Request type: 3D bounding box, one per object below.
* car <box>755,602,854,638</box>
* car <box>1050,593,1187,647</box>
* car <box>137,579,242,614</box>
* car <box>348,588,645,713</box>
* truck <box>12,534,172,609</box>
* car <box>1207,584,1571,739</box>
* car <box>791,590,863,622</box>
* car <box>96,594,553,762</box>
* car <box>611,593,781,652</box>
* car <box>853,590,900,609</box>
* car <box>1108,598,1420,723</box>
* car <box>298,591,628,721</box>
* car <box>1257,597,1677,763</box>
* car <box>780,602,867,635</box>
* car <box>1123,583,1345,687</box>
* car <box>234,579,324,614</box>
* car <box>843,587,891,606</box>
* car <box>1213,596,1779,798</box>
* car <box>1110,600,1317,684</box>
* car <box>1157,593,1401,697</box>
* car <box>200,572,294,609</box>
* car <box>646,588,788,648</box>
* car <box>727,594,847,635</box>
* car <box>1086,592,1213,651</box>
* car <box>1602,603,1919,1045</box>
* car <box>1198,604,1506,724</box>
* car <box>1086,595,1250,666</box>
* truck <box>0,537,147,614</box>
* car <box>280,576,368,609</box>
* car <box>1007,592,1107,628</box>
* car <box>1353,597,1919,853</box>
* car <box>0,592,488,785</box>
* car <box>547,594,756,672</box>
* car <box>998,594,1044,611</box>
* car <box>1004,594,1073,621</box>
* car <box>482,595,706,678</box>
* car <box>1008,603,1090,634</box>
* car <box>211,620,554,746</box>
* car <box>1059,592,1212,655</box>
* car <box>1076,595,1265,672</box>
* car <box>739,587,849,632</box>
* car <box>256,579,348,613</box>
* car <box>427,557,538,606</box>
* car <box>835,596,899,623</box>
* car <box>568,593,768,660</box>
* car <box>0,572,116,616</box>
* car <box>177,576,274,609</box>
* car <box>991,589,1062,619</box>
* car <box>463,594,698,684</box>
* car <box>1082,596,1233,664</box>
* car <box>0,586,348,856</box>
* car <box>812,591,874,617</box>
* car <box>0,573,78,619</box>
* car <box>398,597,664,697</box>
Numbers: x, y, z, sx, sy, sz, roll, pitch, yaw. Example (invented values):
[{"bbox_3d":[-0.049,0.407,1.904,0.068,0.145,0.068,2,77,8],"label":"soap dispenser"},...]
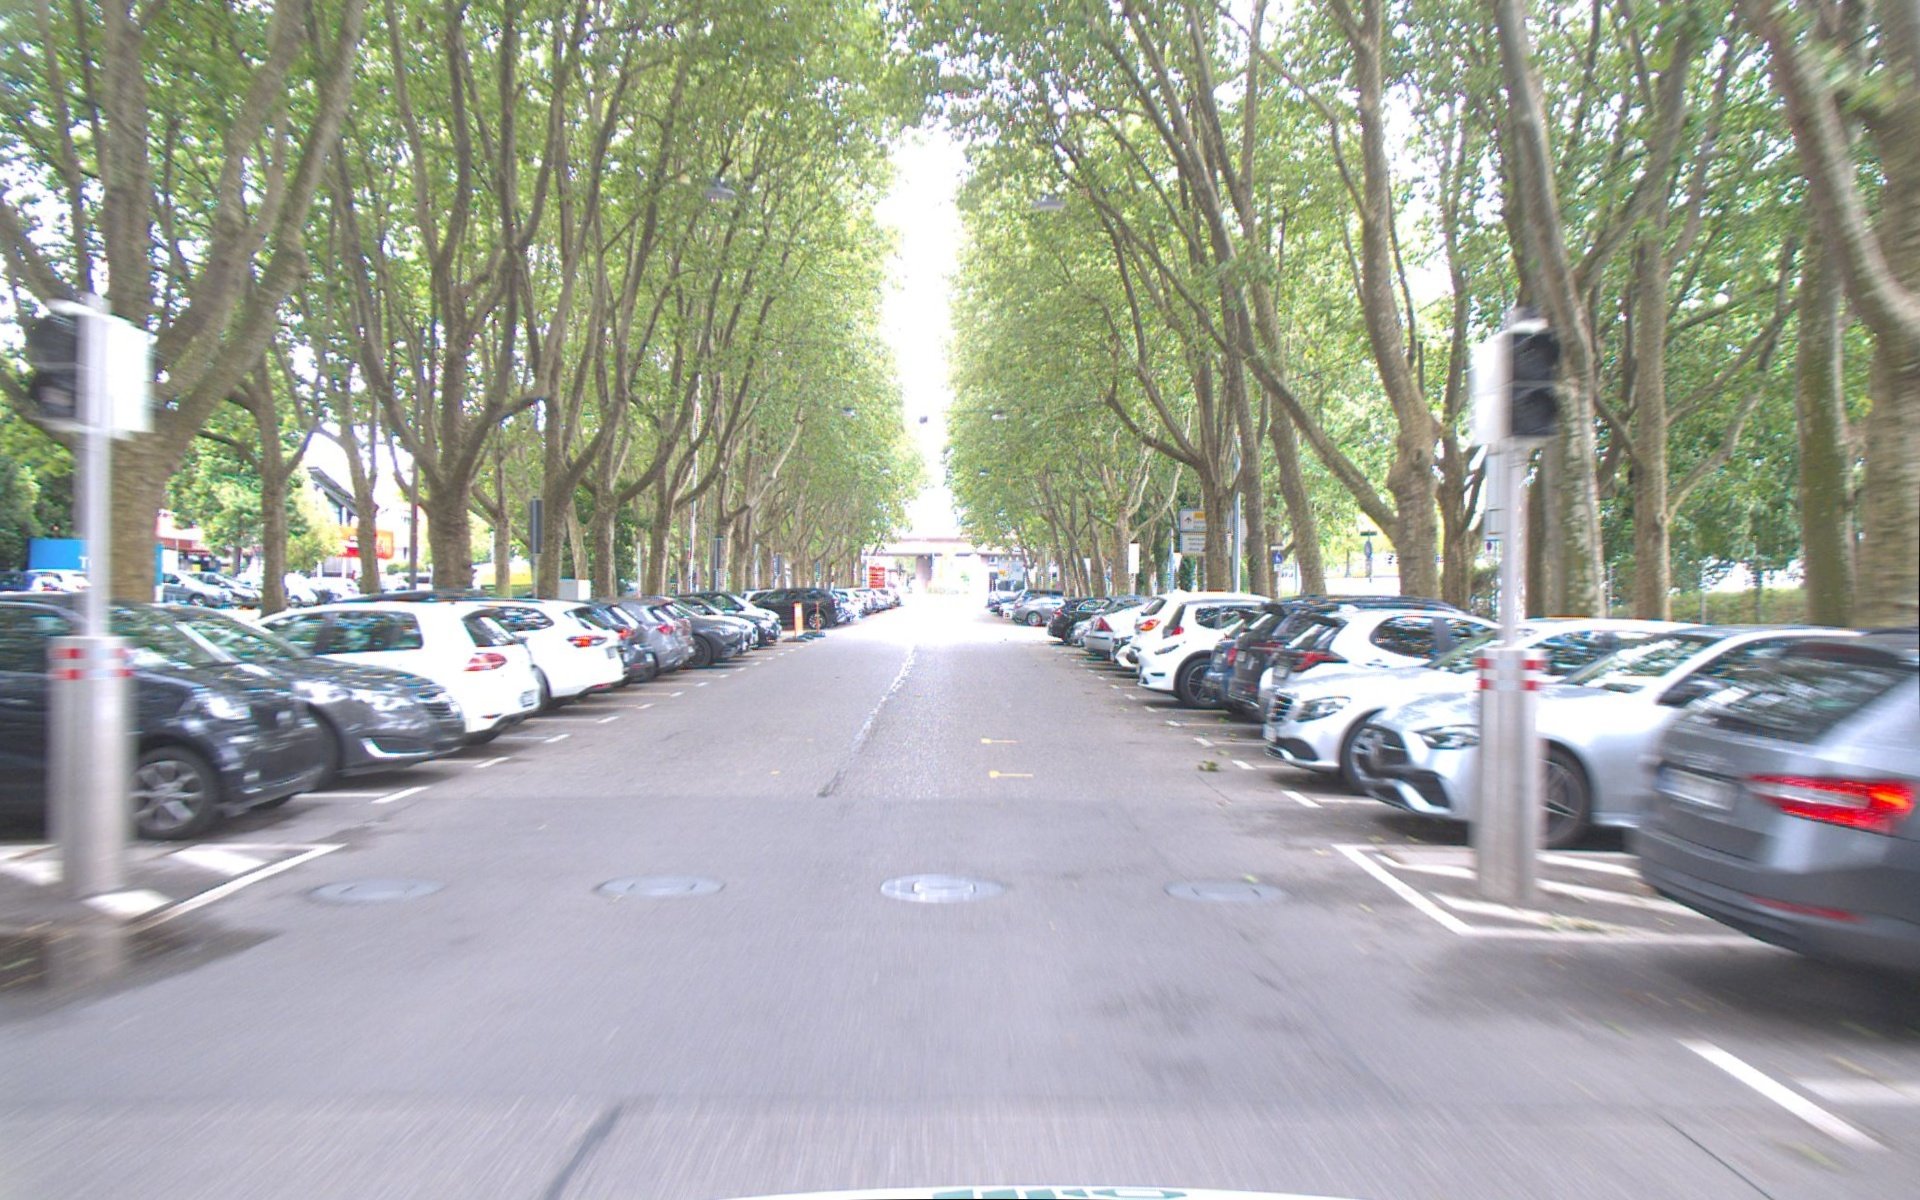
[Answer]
[{"bbox_3d":[-6.653,0.841,71.204,4.083,1.405,1.871,-2,0,-2],"label":"car"},{"bbox_3d":[4.656,0.574,48.930,3.839,1.477,1.555,2,0,-2],"label":"car"},{"bbox_3d":[-32.604,-0.164,70.033,3.679,1.373,1.535,2,0,-2],"label":"car"},{"bbox_3d":[-6.544,0.678,23.695,3.751,1.636,1.857,-1,0,-4],"label":"car"},{"bbox_3d":[-34.572,-1.115,65.996,5.130,2.790,2.206,2,0,-1],"label":"truck"},{"bbox_3d":[4.920,0.683,19.286,3.701,1.625,1.819,2,0,-4],"label":"car"},{"bbox_3d":[-7.480,0.338,93.096,3.733,1.630,1.787,-2,0,5],"label":"car"},{"bbox_3d":[-6.014,0.705,15.997,3.751,1.455,1.693,-1,0,-3],"label":"car"},{"bbox_3d":[-6.900,0.575,43.546,4.246,1.455,1.693,-1,0,-3],"label":"car"},{"bbox_3d":[-6.935,-0.040,137.663,3.734,1.542,1.686,1,0,3],"label":"car"},{"bbox_3d":[4.322,0.846,23.905,4.084,1.624,1.853,2,0,-4],"label":"car"},{"bbox_3d":[-6.330,0.689,21.387,3.751,1.523,1.693,-1,0,-3],"label":"car"},{"bbox_3d":[5.035,0.772,16.705,3.701,1.495,1.622,2,0,-4],"label":"car"},{"bbox_3d":[-6.269,0.850,76.281,3.733,1.377,1.663,-2,0,5],"label":"car"},{"bbox_3d":[4.788,0.592,29.158,3.573,1.696,1.518,2,0,-4],"label":"car"},{"bbox_3d":[-32.907,-0.172,80.017,3.680,1.617,1.535,2,0,-3],"label":"car"},{"bbox_3d":[-7.605,-0.284,135.656,3.734,1.542,1.686,1,0,3],"label":"car"},{"bbox_3d":[4.396,0.776,13.912,4.212,1.495,1.622,2,0,-4],"label":"car"},{"bbox_3d":[4.723,0.772,31.082,3.573,1.434,1.518,2,0,-4],"label":"car"},{"bbox_3d":[5.135,0.714,26.907,3.573,1.545,1.642,2,0,-4],"label":"car"},{"bbox_3d":[-33.361,-0.465,77.476,3.680,1.617,1.535,2,0,-3],"label":"car"},{"bbox_3d":[-6.768,0.489,46.297,3.751,1.582,1.693,-1,0,-3],"label":"car"},{"bbox_3d":[-6.859,0.560,65.998,4.570,1.452,1.999,-2,0,-2],"label":"car"},{"bbox_3d":[5.305,0.600,46.615,3.356,1.534,1.555,2,0,-2],"label":"car"},{"bbox_3d":[5.012,0.828,6.564,4.278,1.495,1.623,2,0,-1],"label":"car"},{"bbox_3d":[5.026,0.809,21.458,3.573,1.395,1.518,2,0,-4],"label":"car"},{"bbox_3d":[4.562,0.662,36.594,3.357,1.448,1.518,2,0,-4],"label":"car"},{"bbox_3d":[-34.230,-0.937,63.246,5.204,2.790,1.928,2,0,-1],"label":"truck"},{"bbox_3d":[-32.890,-0.392,85.595,3.902,1.617,1.695,2,0,8],"label":"car"},{"bbox_3d":[4.468,0.442,75.910,4.478,1.512,2.001,1,0,4],"label":"car"},{"bbox_3d":[5.107,0.796,11.086,4.520,1.495,1.649,2,0,-1],"label":"car"},{"bbox_3d":[-6.231,0.672,13.408,4.313,1.388,1.693,-1,0,-3],"label":"car"},{"bbox_3d":[-6.199,0.639,33.520,3.941,1.455,1.693,-1,0,-3],"label":"car"},{"bbox_3d":[5.798,0.228,157.737,4.286,1.549,1.731,1,0,0],"label":"car"},{"bbox_3d":[4.640,0.435,98.092,3.967,1.494,1.730,1,0,-3],"label":"car"},{"bbox_3d":[-6.832,0.671,31.106,3.746,1.455,1.695,-1,0,4],"label":"car"},{"bbox_3d":[4.499,0.930,83.346,4.087,1.467,1.732,1,0,4],"label":"car"},{"bbox_3d":[-6.298,0.884,18.321,3.250,1.224,1.584,-1,0,-4],"label":"car"},{"bbox_3d":[4.361,0.579,41.414,3.604,1.448,1.518,2,0,-2],"label":"car"},{"bbox_3d":[4.312,0.675,34.281,3.573,1.448,1.984,2,0,-4],"label":"car"},{"bbox_3d":[-6.885,0.372,68.811,4.382,1.706,1.762,-2,0,-2],"label":"car"},{"bbox_3d":[-32.999,-0.202,83.010,3.902,1.617,1.695,2,0,8],"label":"car"},{"bbox_3d":[-23.465,-0.919,81.354,4.975,2.271,1.535,2,0,-2],"label":"car"},{"bbox_3d":[-5.745,0.576,102.865,3.733,1.542,1.687,-2,0,5],"label":"car"},{"bbox_3d":[-6.804,0.606,38.766,4.308,1.455,1.695,-1,0,4],"label":"car"},{"bbox_3d":[-33.260,-0.235,60.645,3.725,1.512,1.712,2,0,-2],"label":"car"},{"bbox_3d":[-33.295,-0.334,75.049,3.680,1.373,1.535,2,0,-3],"label":"car"},{"bbox_3d":[4.130,0.246,103.604,4.289,1.782,1.730,1,0,-3],"label":"car"},{"bbox_3d":[-6.592,0.662,29.004,3.751,1.455,1.693,-1,0,-3],"label":"car"},{"bbox_3d":[4.569,0.677,38.644,3.354,1.448,1.519,2,0,2],"label":"car"},{"bbox_3d":[-6.275,0.757,11.023,3.751,1.636,1.693,-1,0,-3],"label":"car"},{"bbox_3d":[-7.507,0.281,106.243,3.733,1.542,1.687,-2,0,5],"label":"car"},{"bbox_3d":[-33.341,-0.158,58.104,3.725,1.512,1.678,2,0,-2],"label":"car"},{"bbox_3d":[-6.733,0.718,26.276,3.750,1.455,1.801,-1,0,-2],"label":"car"}]
